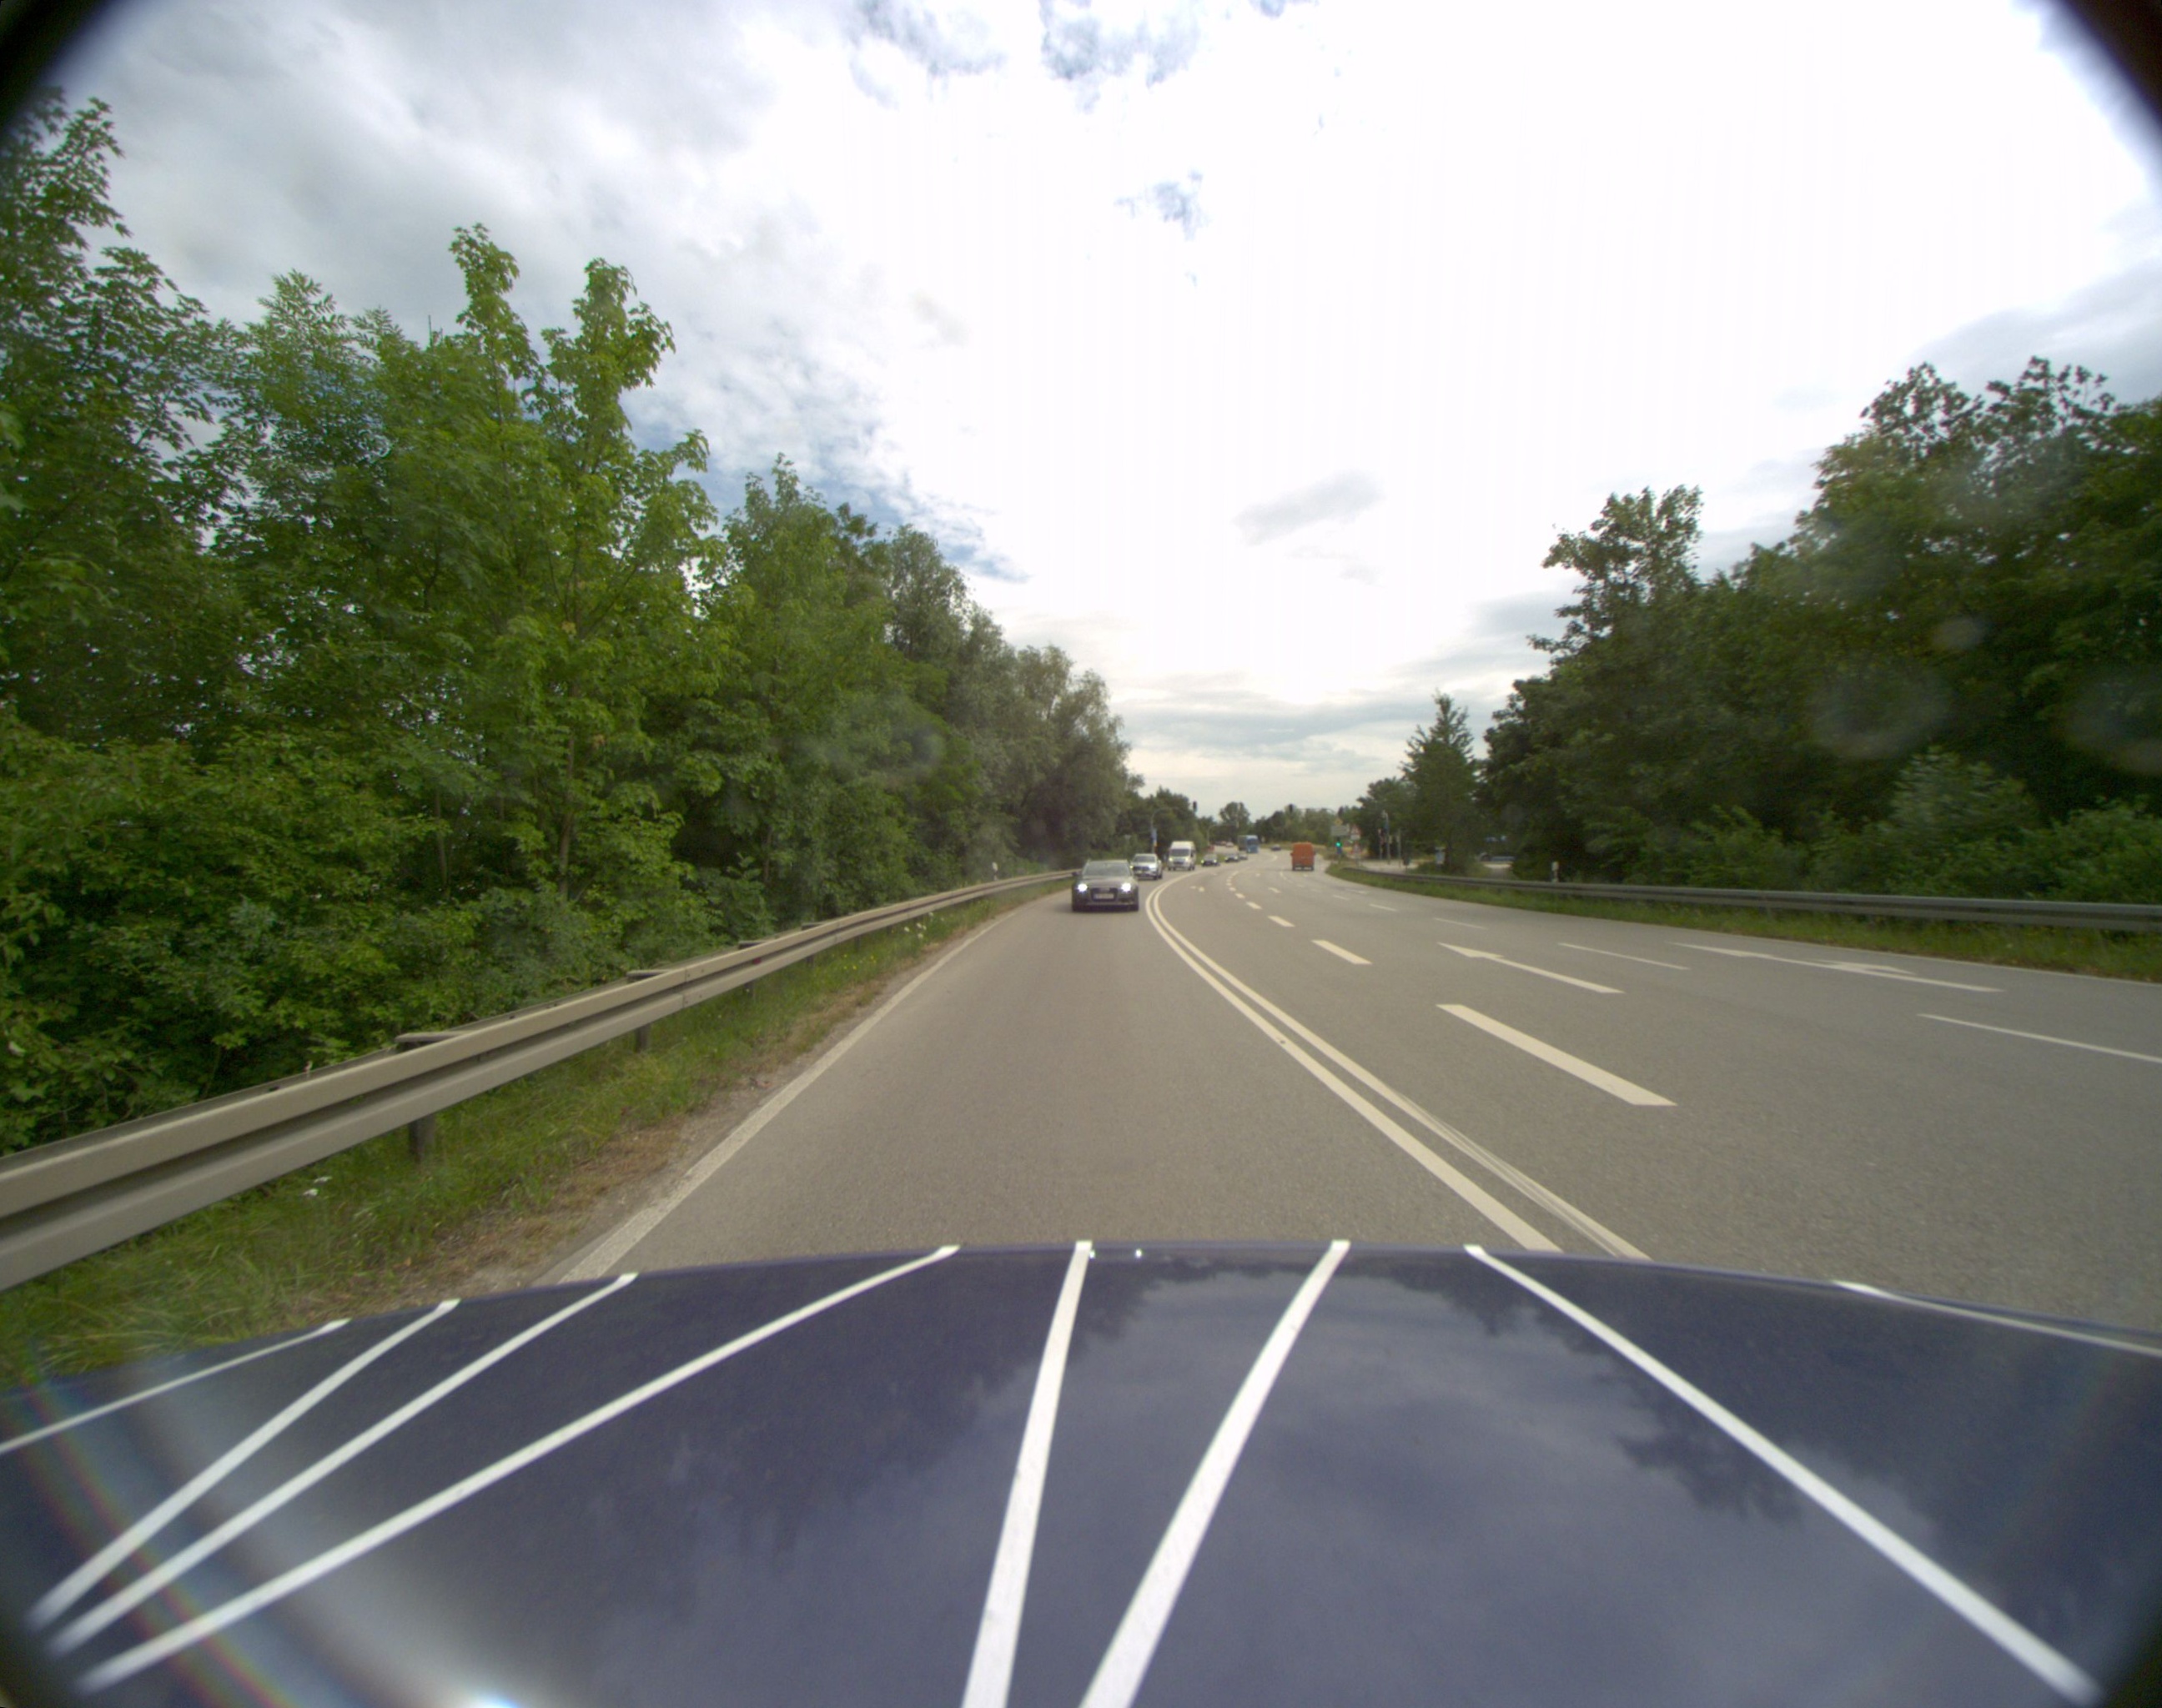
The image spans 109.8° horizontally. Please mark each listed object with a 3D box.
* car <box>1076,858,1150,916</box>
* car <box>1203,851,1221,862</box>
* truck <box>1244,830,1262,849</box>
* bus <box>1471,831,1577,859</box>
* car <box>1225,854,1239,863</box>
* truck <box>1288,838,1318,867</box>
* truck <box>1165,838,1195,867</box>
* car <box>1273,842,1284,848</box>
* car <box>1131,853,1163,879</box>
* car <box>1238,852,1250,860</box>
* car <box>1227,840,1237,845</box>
[{"bbox_3d":[0.941,0.882,22.521,1.964,1.447,4.797,0,1,2],"label":"car"},{"bbox_3d":[15.636,0.300,90.554,1.742,1.317,4.004,2,1,14],"label":"car"},{"bbox_3d":[40.146,-3.343,177.481,3.025,4.325,9.574,0,1,6],"label":"truck"},{"bbox_3d":[50.718,-1.032,87.241,10.060,3.029,3.123,-1,1,7],"label":"bus"},{"bbox_3d":[22.437,0.617,112.601,1.742,1.317,4.004,2,1,14],"label":"car"},{"bbox_3d":[21.021,-0.182,72.170,2.319,2.586,6.028,1,1,12],"label":"truck"},{"bbox_3d":[9.344,-0.170,71.152,2.377,2.579,6.003,0,1,11],"label":"truck"},{"bbox_3d":[47.541,-2.120,182.715,1.744,1.477,4.201,-1,1,4],"label":"car"},{"bbox_3d":[4.215,0.713,48.031,1.825,1.489,4.226,1,1,7],"label":"car"},{"bbox_3d":[26.879,0.283,125.126,1.743,1.317,4.003,2,1,10],"label":"car"},{"bbox_3d":[46.702,-3.505,235.047,1.745,1.477,3.998,-3,1,-4],"label":"car"}]
